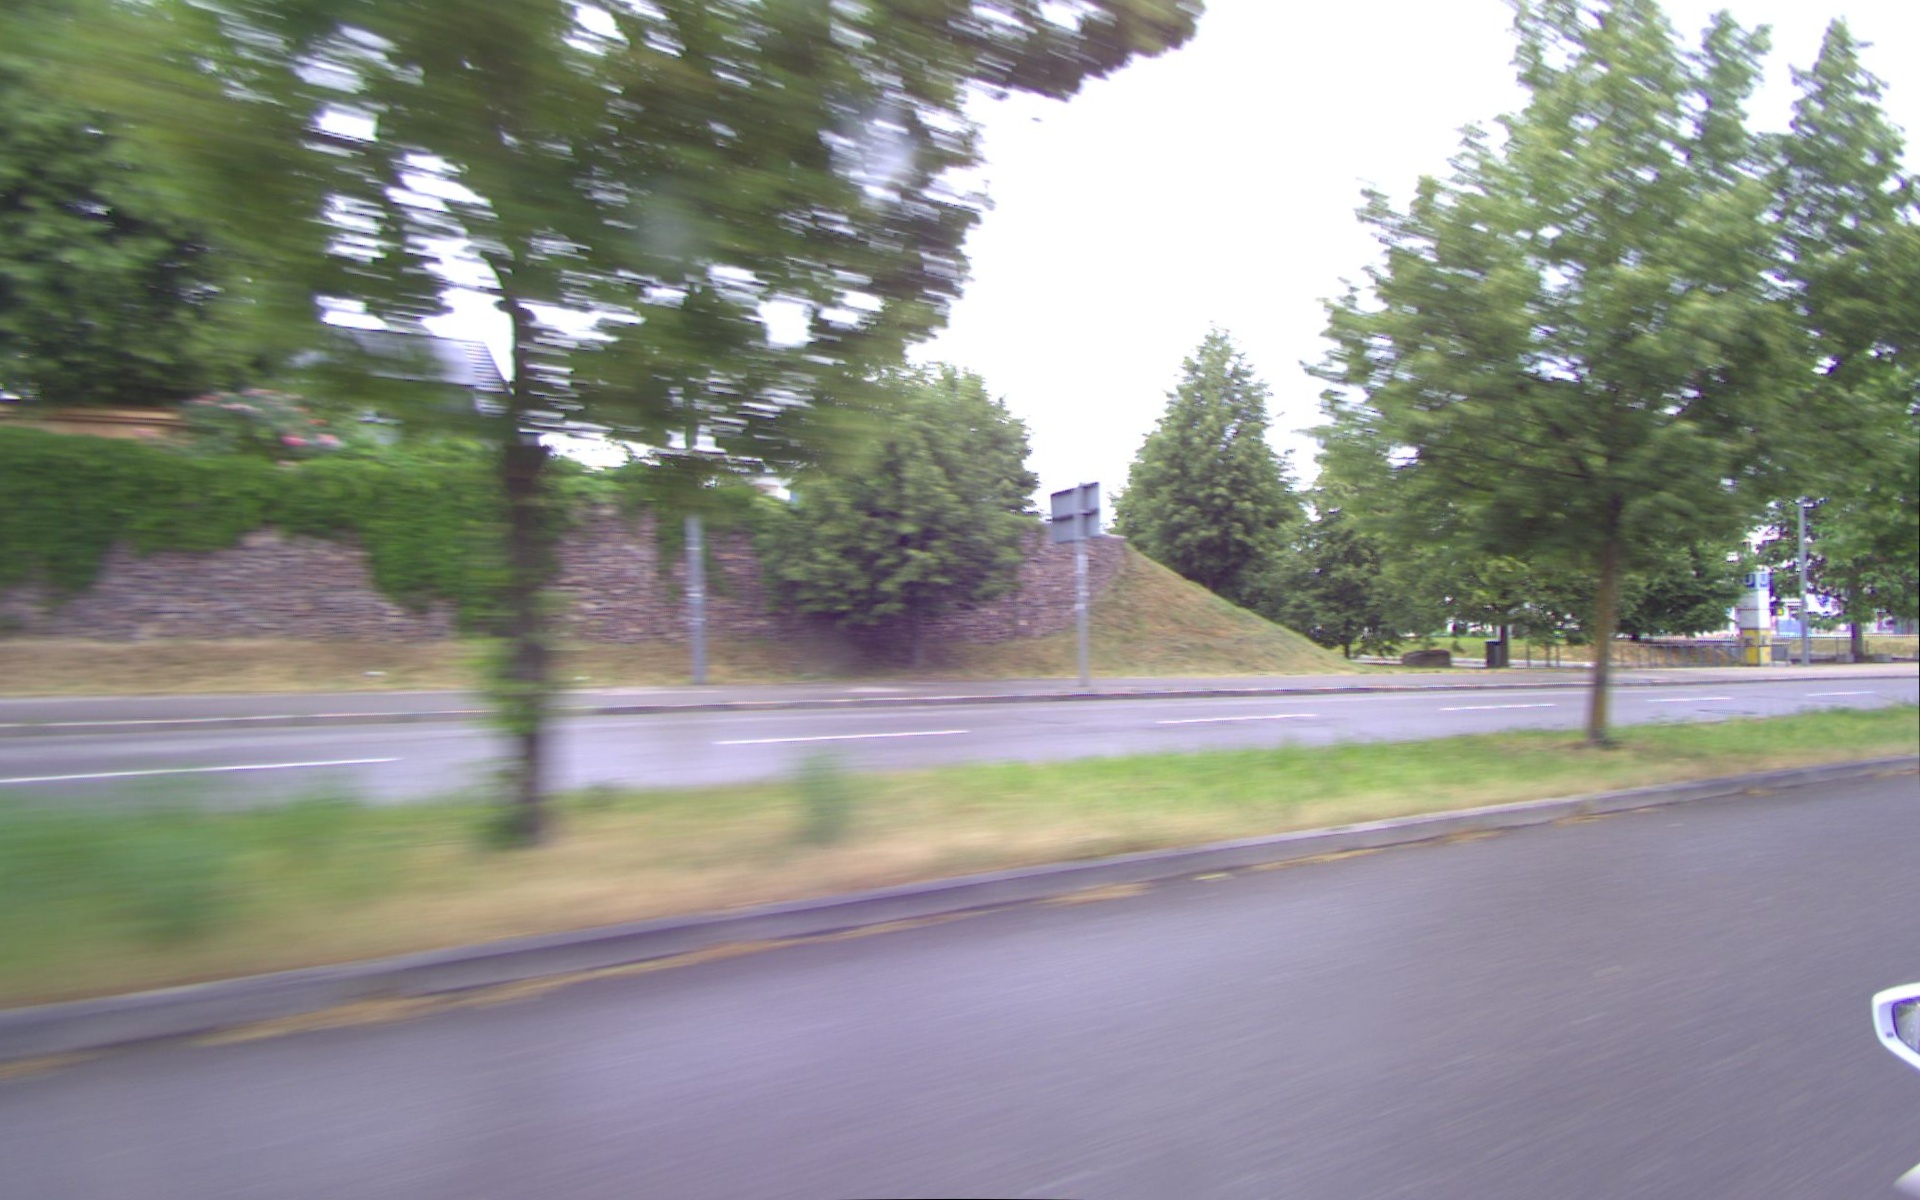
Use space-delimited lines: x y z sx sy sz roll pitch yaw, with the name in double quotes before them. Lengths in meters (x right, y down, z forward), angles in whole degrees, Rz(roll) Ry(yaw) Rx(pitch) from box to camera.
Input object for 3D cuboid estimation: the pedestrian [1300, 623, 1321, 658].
"pedestrian" 17.866 2.064 51.222 0.744 1.751 0.644 2 -1 -21
